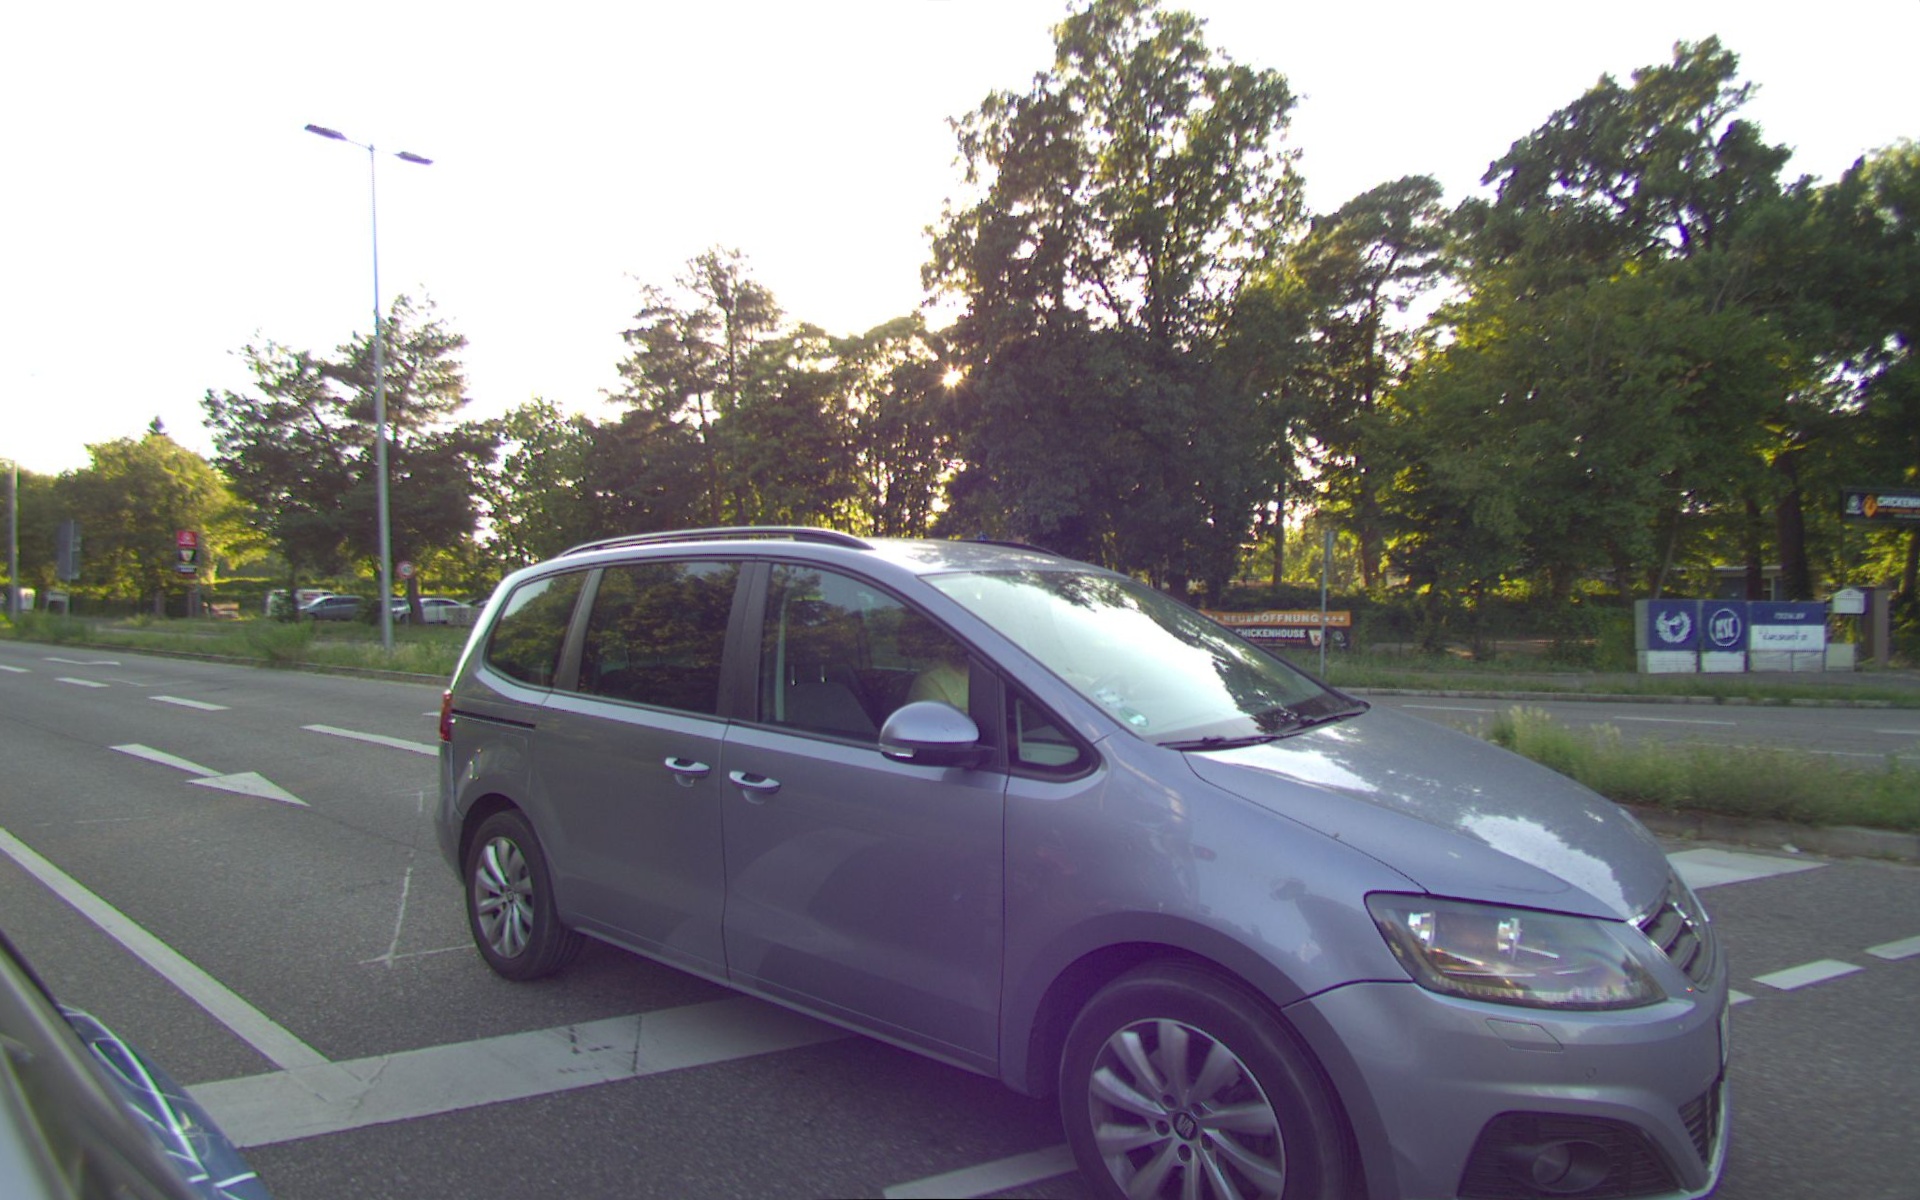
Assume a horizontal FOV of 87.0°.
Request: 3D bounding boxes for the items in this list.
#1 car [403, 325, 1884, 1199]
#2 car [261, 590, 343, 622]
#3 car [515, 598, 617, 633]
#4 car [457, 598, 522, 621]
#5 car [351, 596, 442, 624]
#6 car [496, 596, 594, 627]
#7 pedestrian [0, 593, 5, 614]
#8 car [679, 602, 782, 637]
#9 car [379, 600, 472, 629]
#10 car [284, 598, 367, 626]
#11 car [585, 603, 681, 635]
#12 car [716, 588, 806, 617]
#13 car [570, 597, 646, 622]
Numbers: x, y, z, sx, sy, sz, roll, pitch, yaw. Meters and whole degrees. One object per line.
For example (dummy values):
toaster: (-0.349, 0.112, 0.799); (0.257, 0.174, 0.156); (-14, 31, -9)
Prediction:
car: (0.009, 0.516, 3.558); (4.655, 1.737, 1.848); (0, -1, 39)
car: (-41.086, 0.375, 63.237); (1.823, 1.879, 3.948); (0, 0, 38)
car: (-17.942, 0.688, 46.173); (1.760, 1.490, 3.997); (0, 0, 39)
car: (-30.779, 0.611, 66.128); (4.536, 1.417, 1.844); (0, 0, 35)
car: (-31.359, 0.545, 56.408); (1.780, 1.490, 4.121); (0, 0, 35)
car: (-20.088, 0.547, 49.109); (1.996, 1.464, 3.951); (0, 0, 36)
pedestrian: (-80.920, 0.307, 85.282); (0.676, 1.788, 0.560); (-1, 1, 39)
car: (-9.293, 0.763, 40.856); (3.990, 1.342, 1.844); (0, 0, 35)
car: (-28.900, 0.759, 54.840); (1.780, 1.490, 4.121); (0, 0, 35)
car: (-38.519, 0.693, 61.504); (1.823, 1.649, 3.948); (0, 0, 38)
car: (-14.443, 0.810, 44.565); (4.488, 1.334, 1.660); (0, 0, 35)
car: (-10.057, 0.129, 51.138); (4.536, 1.417, 1.844); (0, 0, 35)
car: (-20.328, 0.521, 58.455); (4.536, 1.417, 1.844); (0, 0, 35)
